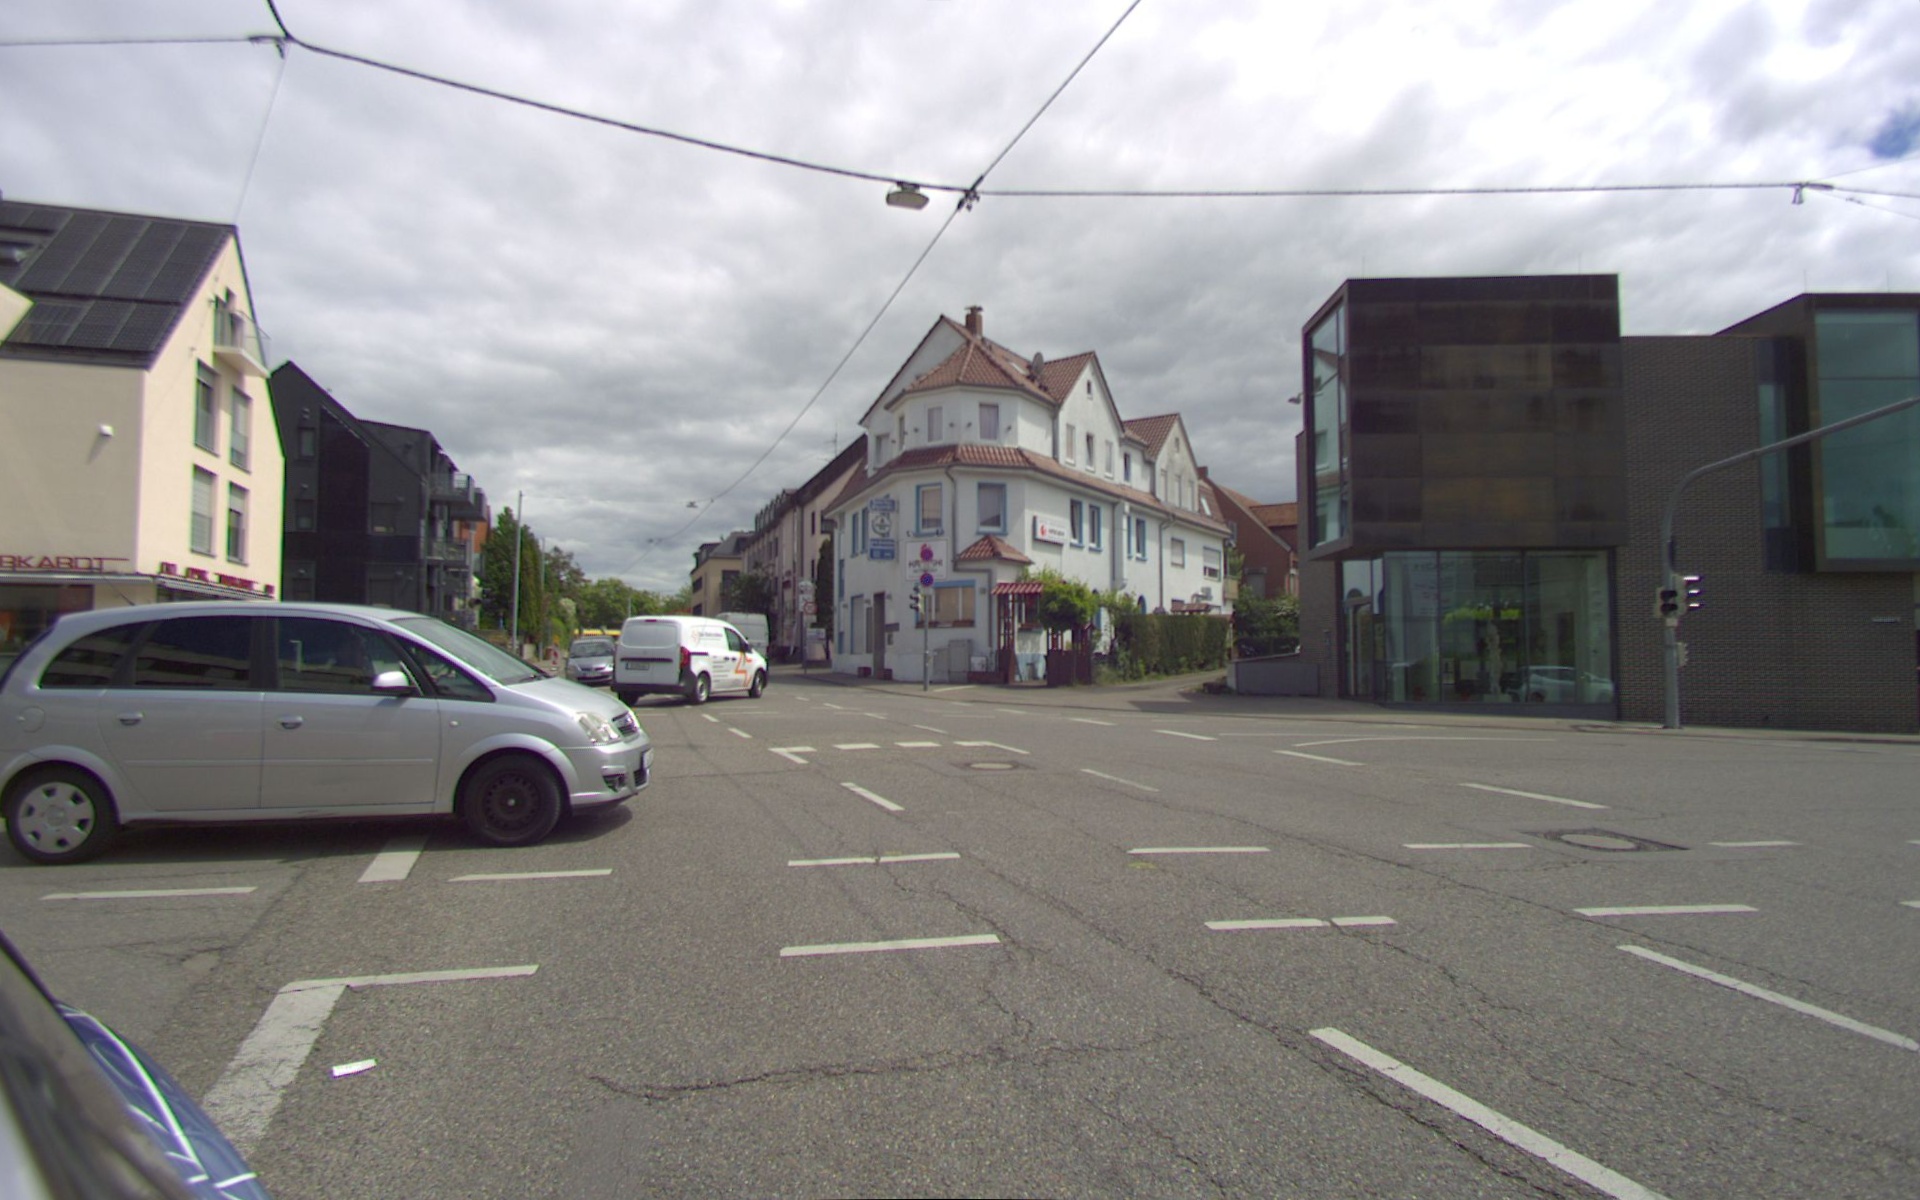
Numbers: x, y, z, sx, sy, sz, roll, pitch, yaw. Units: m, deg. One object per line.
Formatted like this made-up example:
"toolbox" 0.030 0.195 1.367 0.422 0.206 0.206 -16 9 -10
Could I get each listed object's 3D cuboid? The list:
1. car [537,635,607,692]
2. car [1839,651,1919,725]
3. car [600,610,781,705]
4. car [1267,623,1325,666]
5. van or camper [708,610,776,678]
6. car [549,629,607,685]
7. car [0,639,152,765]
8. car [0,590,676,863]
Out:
"car" -12.544 2.008 32.830 1.965 1.697 4.013 1 -2 -20
"car" 24.037 2.194 24.519 1.972 1.652 4.000 1 0 0
"car" -5.652 1.245 21.876 1.805 1.826 4.395 -1 -3 16
"car" 16.870 2.231 50.700 1.993 2.029 3.958 -1 -3 31
"van or camper" -9.467 1.938 43.597 2.078 2.606 5.662 4 -4 -18
"car" -14.795 2.187 39.223 1.965 2.029 4.013 2 -3 -21
"car" -11.488 1.054 10.746 4.229 1.292 2.006 2 -3 -29
"car" -4.125 0.798 7.031 3.937 1.587 1.778 1 -3 -9
